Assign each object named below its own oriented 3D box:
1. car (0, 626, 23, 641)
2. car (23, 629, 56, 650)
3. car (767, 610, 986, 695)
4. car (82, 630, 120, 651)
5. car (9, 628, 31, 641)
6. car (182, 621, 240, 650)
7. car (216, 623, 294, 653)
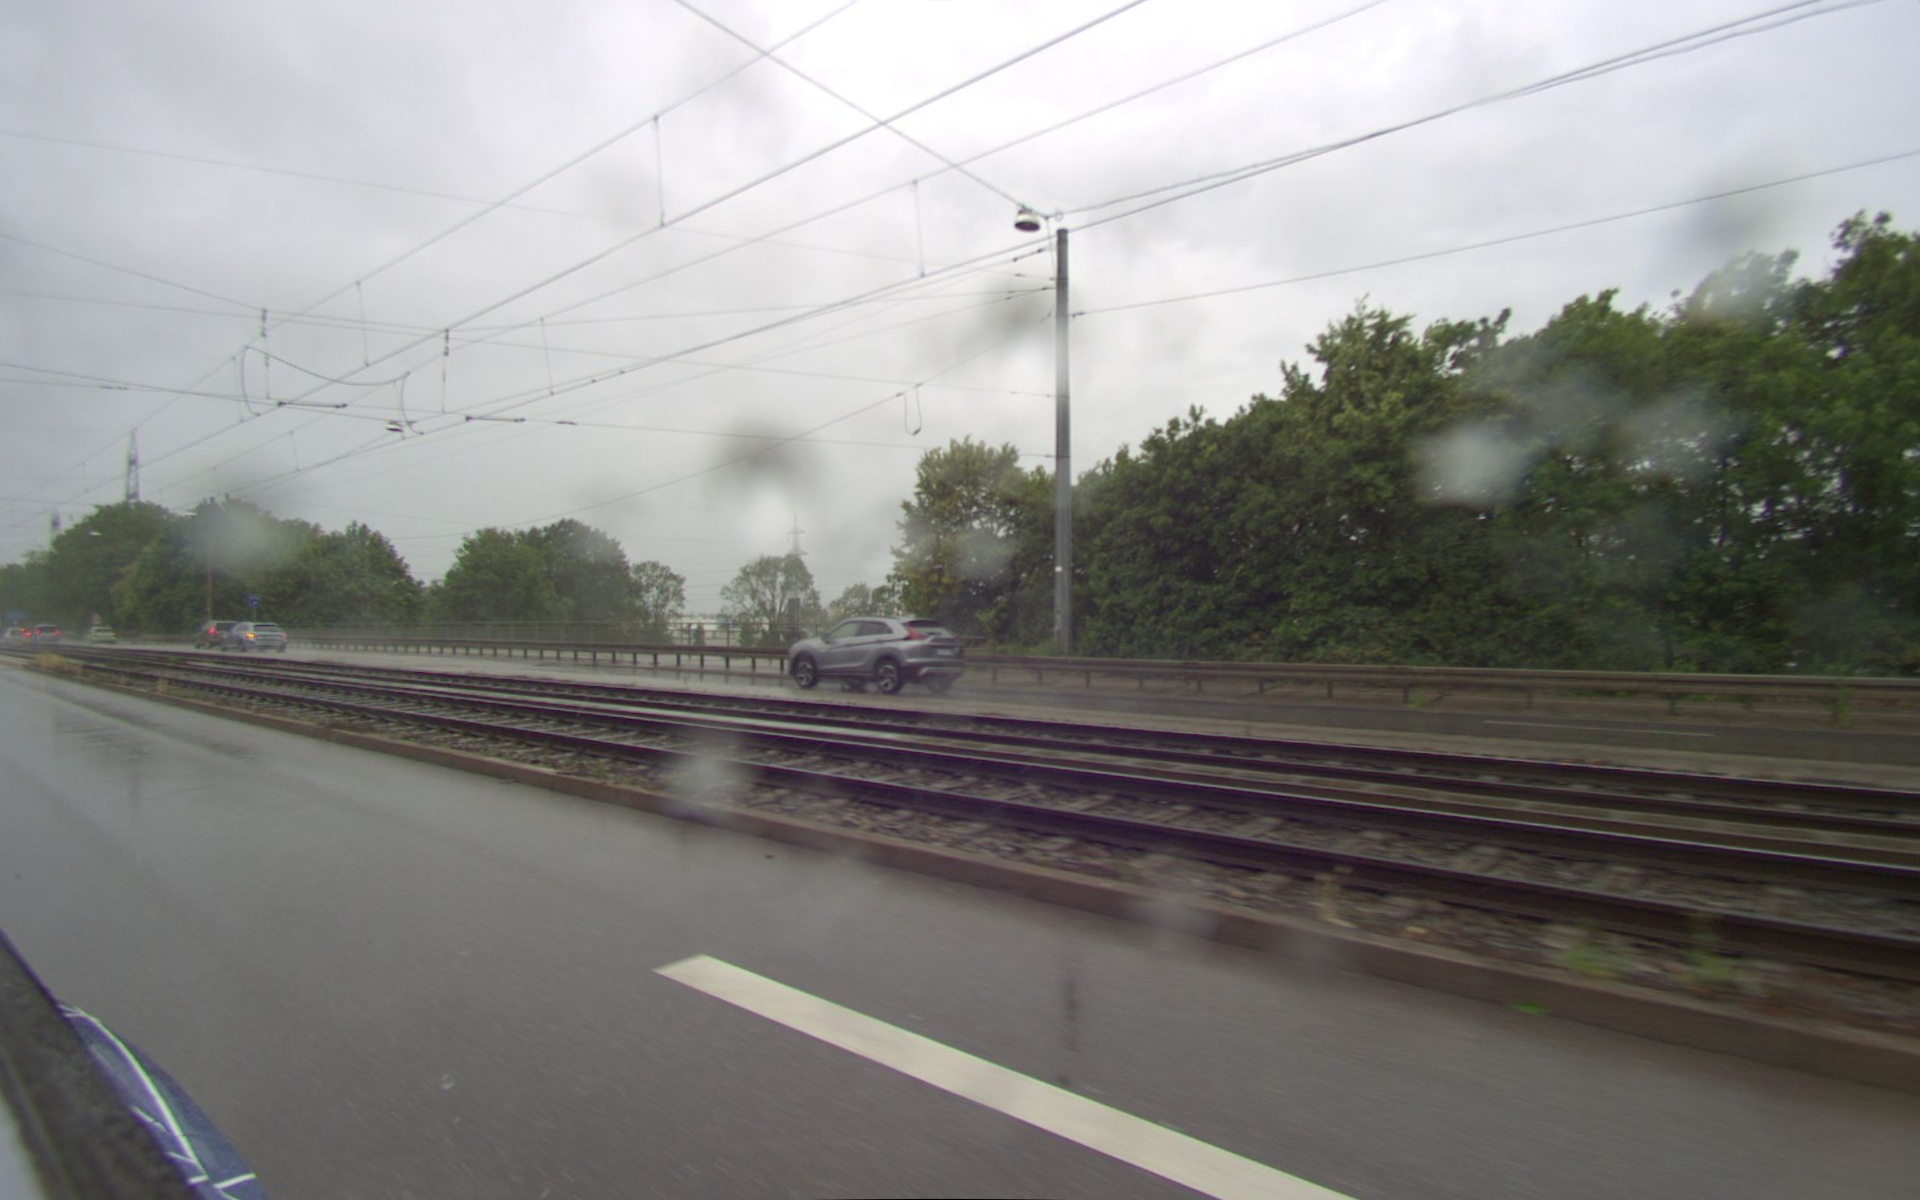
[{"bbox_3d":[-112.024,3.949,119.226,3.998,1.629,1.973,-1,-1,41],"label":"car"},{"bbox_3d":[-91.732,3.900,100.843,4.392,1.845,1.829,-1,2,41],"label":"car"},{"bbox_3d":[-1.932,1.104,22.394,4.868,1.685,1.973,-2,-1,40],"label":"car"},{"bbox_3d":[-69.624,3.245,81.986,3.998,1.606,1.827,-1,-1,41],"label":"car"},{"bbox_3d":[-127.981,4.624,137.780,4.659,1.724,1.813,-1,-2,41],"label":"car"},{"bbox_3d":[-43.405,2.048,58.625,4.383,1.586,1.822,-1,-1,41],"label":"car"},{"bbox_3d":[-34.625,1.857,49.649,4.849,1.399,1.973,-2,-1,40],"label":"car"}]
